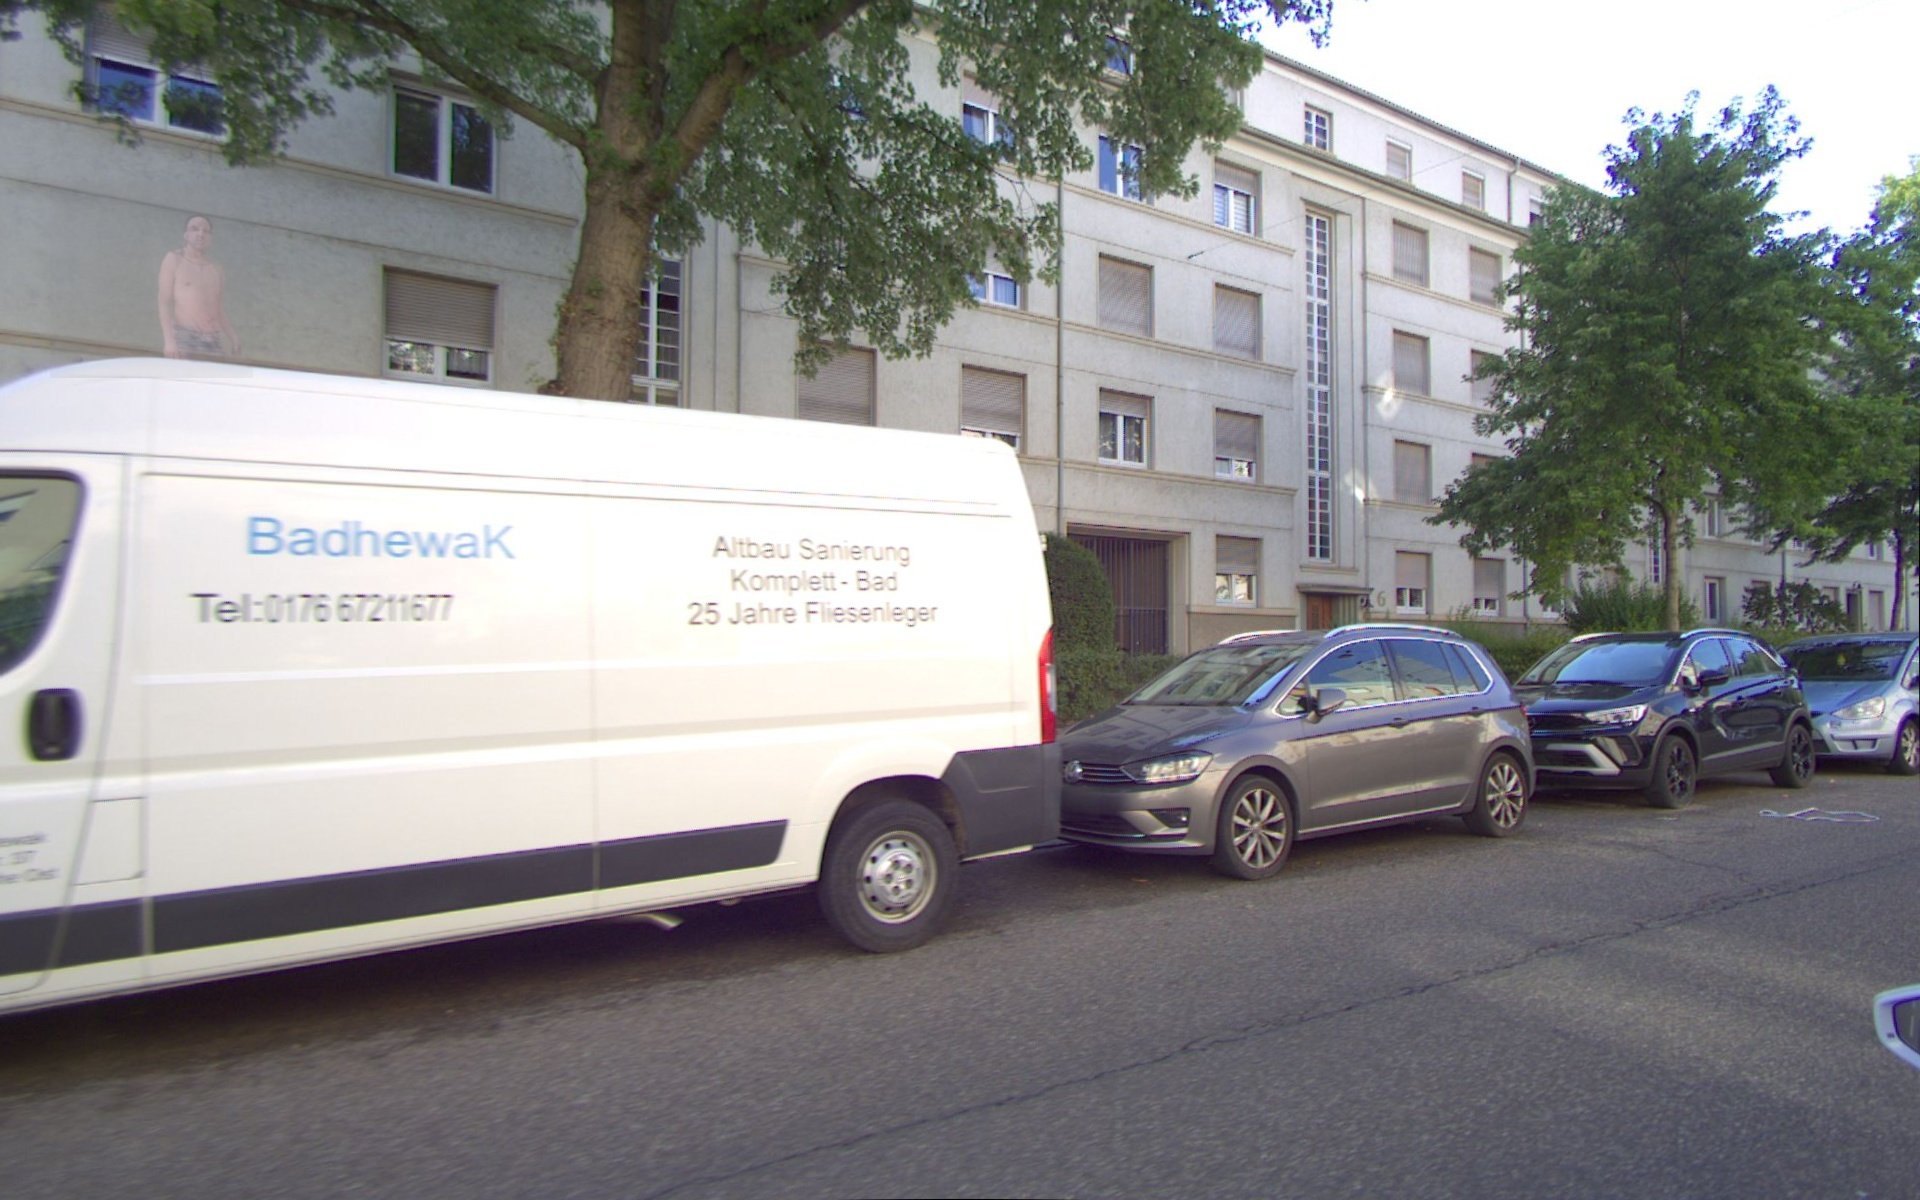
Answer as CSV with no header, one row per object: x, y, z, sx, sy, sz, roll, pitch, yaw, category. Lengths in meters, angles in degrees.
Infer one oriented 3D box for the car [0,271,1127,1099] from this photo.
-2.366,0.382,4.669,6.092,2.476,2.348,3,-6,-30,car

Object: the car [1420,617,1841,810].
6.845,1.043,10.165,4.315,1.578,1.862,3,-3,-30,car

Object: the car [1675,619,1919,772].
11.276,1.136,12.537,4.998,1.578,1.863,1,-7,-31,car

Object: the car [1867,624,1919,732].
16.154,1.249,15.660,4.053,1.579,1.862,3,-1,-30,car

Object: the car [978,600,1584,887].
2.471,0.904,7.479,4.296,1.578,1.948,3,-3,-30,car
